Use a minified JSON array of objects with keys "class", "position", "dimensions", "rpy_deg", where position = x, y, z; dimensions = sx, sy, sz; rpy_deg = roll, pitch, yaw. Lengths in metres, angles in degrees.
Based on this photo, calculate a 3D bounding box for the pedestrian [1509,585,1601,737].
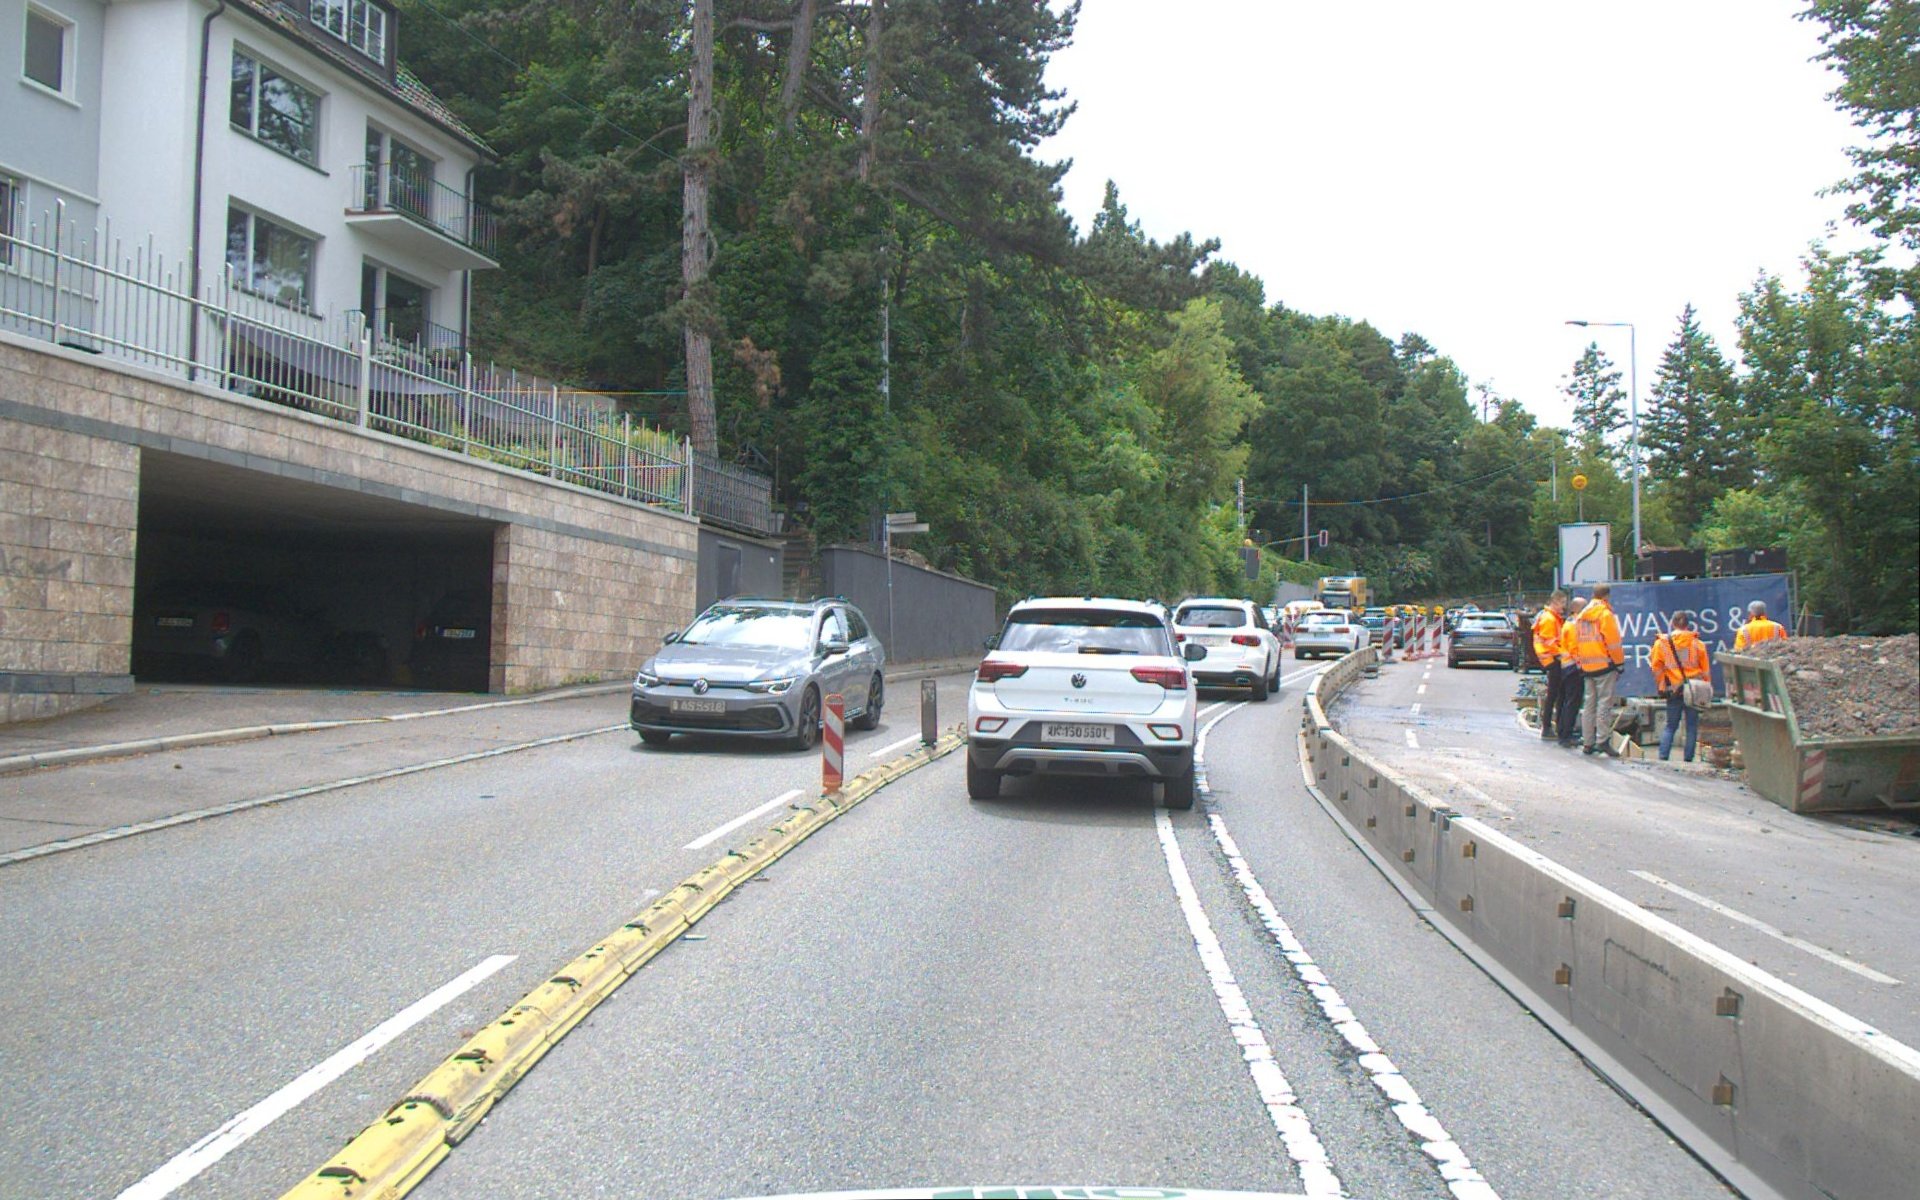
[{"class":"pedestrian","position":[7.480,0.749,20.825],"dimensions":[0.857,1.854,0.879],"rpy_deg":[1,0,4]}]

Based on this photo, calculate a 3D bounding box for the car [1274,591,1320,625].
[{"class":"car","position":[15.975,0.402,78.349],"dimensions":[1.730,1.477,4.311],"rpy_deg":[3,0,16]}]

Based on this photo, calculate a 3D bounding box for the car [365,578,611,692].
[{"class":"car","position":[-6.776,0.545,24.161],"dimensions":[1.744,1.478,3.705],"rpy_deg":[2,-2,15]}]

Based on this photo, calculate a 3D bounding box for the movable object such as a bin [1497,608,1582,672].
[{"class":"movable object such as a bin","position":[13.801,0.938,39.484],"dimensions":[1.365,1.450,1.907],"rpy_deg":[1,0,1]}]

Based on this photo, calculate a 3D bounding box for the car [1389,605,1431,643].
[{"class":"car","position":[20.782,1.062,76.319],"dimensions":[1.771,1.692,4.002],"rpy_deg":[0,0,17]}]

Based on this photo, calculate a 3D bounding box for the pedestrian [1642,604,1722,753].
[{"class":"pedestrian","position":[8.185,0.875,18.780],"dimensions":[0.766,1.636,0.667],"rpy_deg":[1,0,20]}]

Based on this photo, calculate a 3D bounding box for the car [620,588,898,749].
[{"class":"car","position":[-1.977,0.644,17.627],"dimensions":[1.730,1.460,4.312],"rpy_deg":[1,0,10]}]

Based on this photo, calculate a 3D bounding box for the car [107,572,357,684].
[{"class":"car","position":[-10.507,0.447,24.173],"dimensions":[1.733,1.444,3.547],"rpy_deg":[2,-2,6]}]

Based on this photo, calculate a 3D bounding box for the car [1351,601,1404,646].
[{"class":"car","position":[16.146,0.880,63.827],"dimensions":[1.771,1.692,4.002],"rpy_deg":[0,0,17]}]

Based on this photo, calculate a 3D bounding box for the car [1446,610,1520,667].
[{"class":"car","position":[13.729,0.969,43.419],"dimensions":[1.756,1.392,4.002],"rpy_deg":[1,0,18]}]

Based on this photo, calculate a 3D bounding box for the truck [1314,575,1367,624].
[{"class":"truck","position":[26.293,0.009,114.181],"dimensions":[2.843,3.210,7.586],"rpy_deg":[1,-1,18]}]

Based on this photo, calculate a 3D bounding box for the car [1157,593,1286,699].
[{"class":"car","position":[4.580,0.741,28.590],"dimensions":[1.771,1.692,4.003],"rpy_deg":[0,0,15]}]

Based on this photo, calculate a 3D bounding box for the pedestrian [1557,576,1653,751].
[{"class":"pedestrian","position":[7.309,0.708,18.772],"dimensions":[0.677,1.940,0.824],"rpy_deg":[1,0,-8]}]

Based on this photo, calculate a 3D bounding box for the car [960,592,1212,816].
[{"class":"car","position":[1.162,0.746,13.819],"dimensions":[1.771,1.558,4.003],"rpy_deg":[1,0,8]}]

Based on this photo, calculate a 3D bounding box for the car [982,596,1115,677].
[{"class":"car","position":[1.863,0.706,33.459],"dimensions":[1.730,1.460,4.311],"rpy_deg":[3,0,16]}]

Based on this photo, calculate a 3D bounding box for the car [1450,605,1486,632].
[{"class":"car","position":[26.887,0.964,87.698],"dimensions":[1.756,1.392,4.002],"rpy_deg":[1,0,16]}]

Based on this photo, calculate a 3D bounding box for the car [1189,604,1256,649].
[{"class":"car","position":[9.511,0.944,59.775],"dimensions":[1.730,1.477,4.311],"rpy_deg":[3,0,17]}]

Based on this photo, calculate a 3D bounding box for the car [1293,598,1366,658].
[{"class":"car","position":[11.136,0.808,49.739],"dimensions":[1.772,1.692,4.002],"rpy_deg":[0,0,18]}]

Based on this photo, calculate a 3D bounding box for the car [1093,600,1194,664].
[{"class":"car","position":[4.777,0.798,42.635],"dimensions":[1.730,1.477,4.311],"rpy_deg":[3,0,17]}]

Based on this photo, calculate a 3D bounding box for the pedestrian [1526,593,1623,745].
[{"class":"pedestrian","position":[7.354,0.806,19.831],"dimensions":[0.857,1.761,0.879],"rpy_deg":[1,0,4]}]

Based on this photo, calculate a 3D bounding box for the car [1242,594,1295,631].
[{"class":"car","position":[13.554,0.562,72.451],"dimensions":[1.730,1.477,4.311],"rpy_deg":[3,0,17]}]

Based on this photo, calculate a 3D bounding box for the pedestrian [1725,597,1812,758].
[{"class":"pedestrian","position":[8.906,0.835,18.245],"dimensions":[0.766,1.717,0.785],"rpy_deg":[1,0,20]}]
